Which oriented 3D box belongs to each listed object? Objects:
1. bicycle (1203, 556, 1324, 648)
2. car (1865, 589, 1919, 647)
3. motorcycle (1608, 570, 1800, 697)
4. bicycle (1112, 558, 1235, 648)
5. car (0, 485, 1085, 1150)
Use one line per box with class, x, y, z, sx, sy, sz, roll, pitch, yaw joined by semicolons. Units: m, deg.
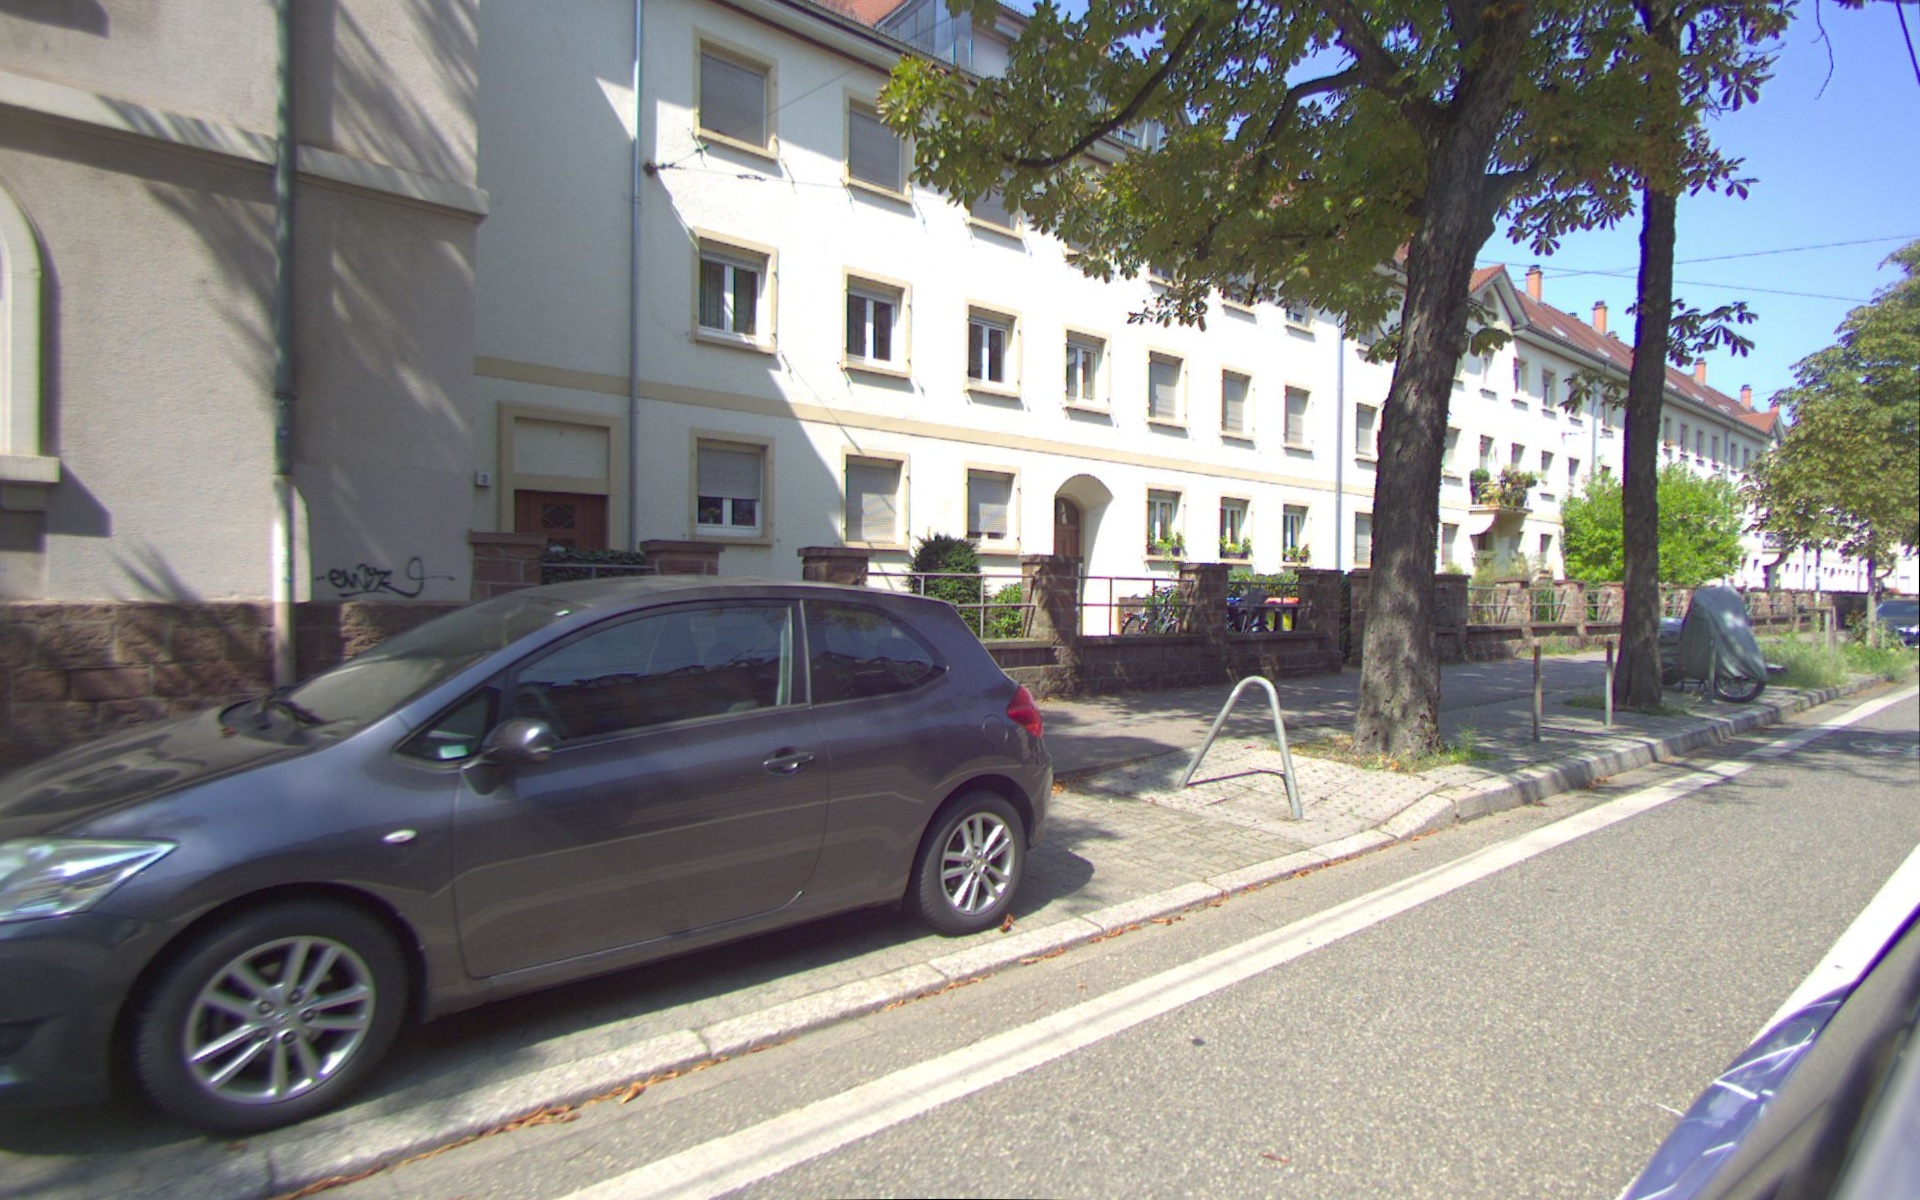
bicycle;4.841;0.013;16.061;2.325;1.375;0.595;-1;1;-38
car;27.025;0.475;28.320;4.755;1.495;1.896;-1;2;-41
motorcycle;10.371;0.404;14.267;0.951;1.558;2.347;0;3;1
bicycle;3.494;0.020;16.416;2.325;1.375;0.595;-1;1;-38
car;-1.556;0.508;4.150;4.042;1.551;1.844;1;1;-41
